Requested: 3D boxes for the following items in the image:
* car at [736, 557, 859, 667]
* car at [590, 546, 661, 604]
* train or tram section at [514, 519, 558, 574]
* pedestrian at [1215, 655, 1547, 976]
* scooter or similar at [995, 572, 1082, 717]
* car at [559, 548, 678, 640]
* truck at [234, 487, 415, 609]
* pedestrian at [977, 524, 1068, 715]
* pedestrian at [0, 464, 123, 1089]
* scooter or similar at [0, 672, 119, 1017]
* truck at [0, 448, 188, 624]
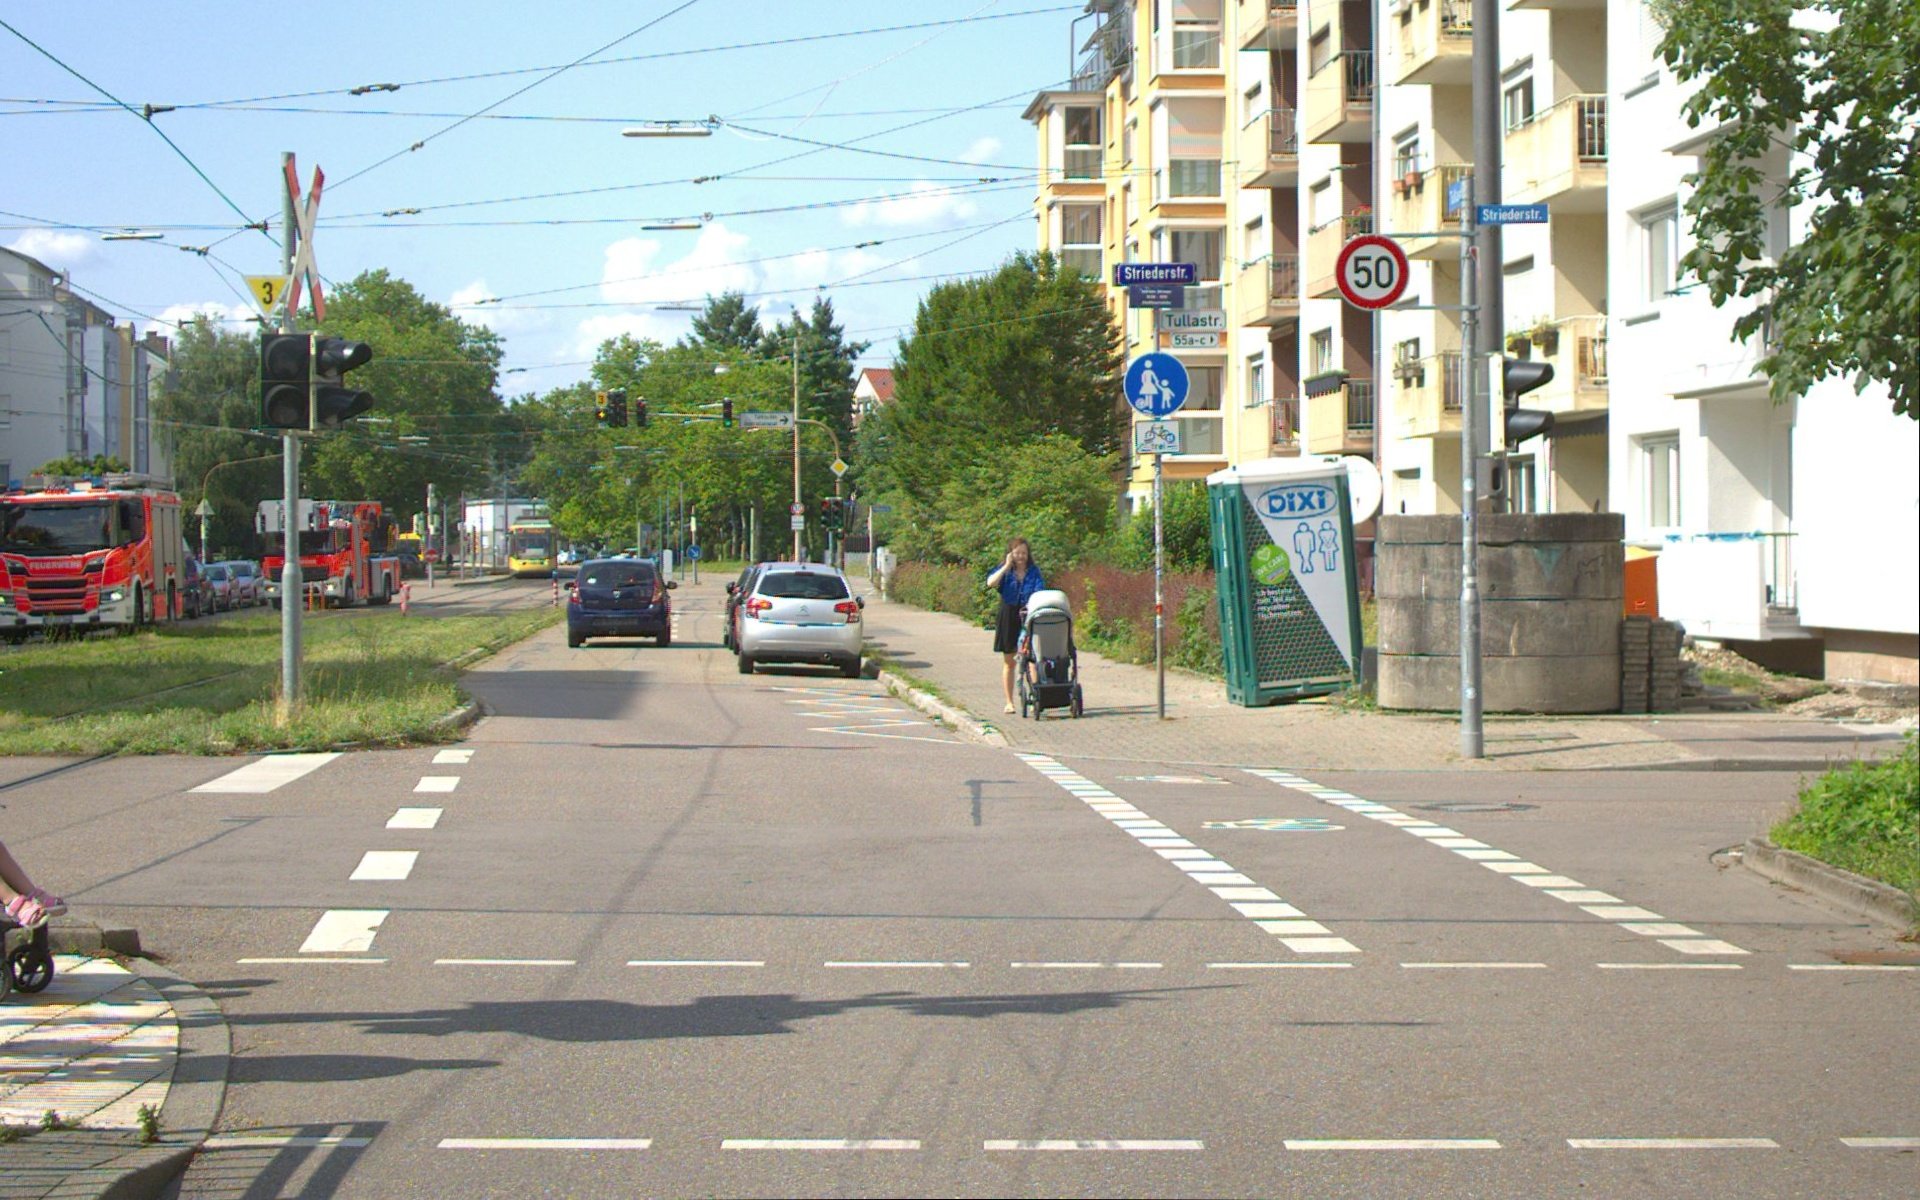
[{"bbox_3d":[-2.289,0.149,48.272,1.622,1.460,3.511,1,0,-3],"label":"car"},{"bbox_3d":[-8.938,-0.674,92.133,1.743,1.502,4.001,1,0,-4],"label":"car"},{"bbox_3d":[-23.902,-3.015,194.033,2.258,3.058,8.135,-1,1,-6],"label":"train or tram section"},{"bbox_3d":[2.967,1.475,25.009,1.993,2.007,4.000,1,0,2],"label":"pedestrian"},{"bbox_3d":[0.735,0.412,32.377,0.662,1.299,0.868,-4,1,-4],"label":"scooter or similar"},{"bbox_3d":[-5.877,-0.121,59.439,1.744,1.502,4.000,1,0,-2],"label":"car"},{"bbox_3d":[-19.155,-1.536,104.270,2.667,3.459,10.166,1,0,5],"label":"truck"},{"bbox_3d":[0.596,0.175,33.247,0.701,1.783,1.030,-3,1,-3],"label":"pedestrian"},{"bbox_3d":[-2.861,0.470,9.416,0.845,1.662,0.799,-1,0,-36],"label":"pedestrian"},{"bbox_3d":[-3.325,0.764,11.024,1.100,1.052,0.650,1,0,-3],"label":"scooter or similar"},{"bbox_3d":[-16.905,-1.202,66.732,2.596,3.175,8.384,1,0,-5],"label":"truck"}]
